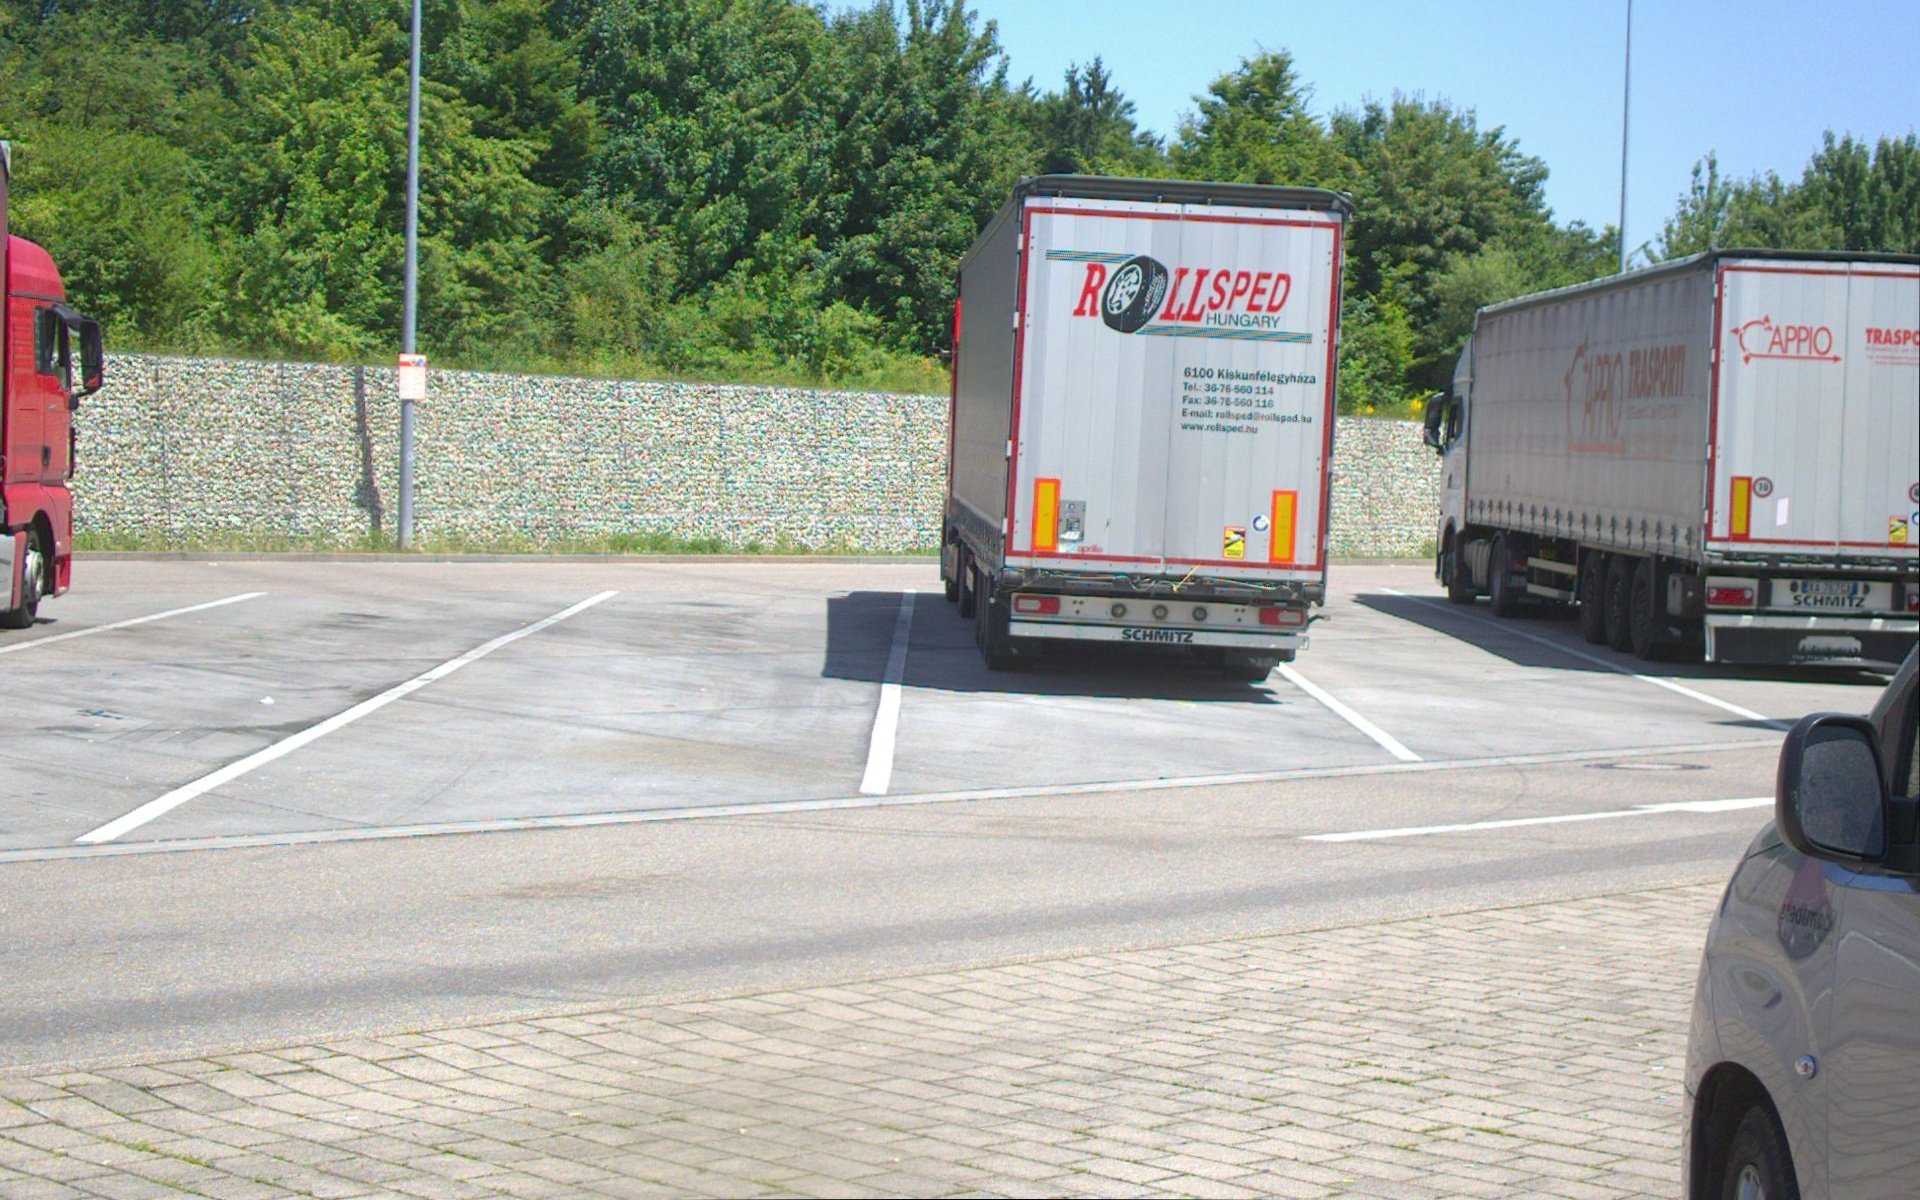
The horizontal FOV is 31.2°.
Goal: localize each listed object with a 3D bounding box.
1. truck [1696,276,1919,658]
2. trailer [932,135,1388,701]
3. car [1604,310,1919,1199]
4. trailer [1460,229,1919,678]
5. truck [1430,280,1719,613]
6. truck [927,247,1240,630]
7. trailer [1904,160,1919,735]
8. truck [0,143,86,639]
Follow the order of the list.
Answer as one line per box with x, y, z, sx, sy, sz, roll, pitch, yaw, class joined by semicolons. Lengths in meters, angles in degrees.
11.722;-1.480;39.822;2.904;4.110;14.528;3;2;-1;truck
1.472;-1.701;32.651;3.069;4.213;12.810;2;3;-2;trailer
2.135;0.540;3.808;1.825;1.747;4.001;1;2;-4;car
8.133;-1.579;38.489;2.876;4.110;13.572;1;2;-1;trailer
8.018;-1.995;45.485;2.757;4.110;5.285;1;2;-1;truck
1.256;-1.860;39.420;3.026;3.915;6.847;2;3;-2;truck
11.102;-1.150;27.494;8.662;4.243;2.841;-1;3;-45;trailer
-9.237;-1.706;27.667;2.743;4.067;6.830;1;2;-1;truck
